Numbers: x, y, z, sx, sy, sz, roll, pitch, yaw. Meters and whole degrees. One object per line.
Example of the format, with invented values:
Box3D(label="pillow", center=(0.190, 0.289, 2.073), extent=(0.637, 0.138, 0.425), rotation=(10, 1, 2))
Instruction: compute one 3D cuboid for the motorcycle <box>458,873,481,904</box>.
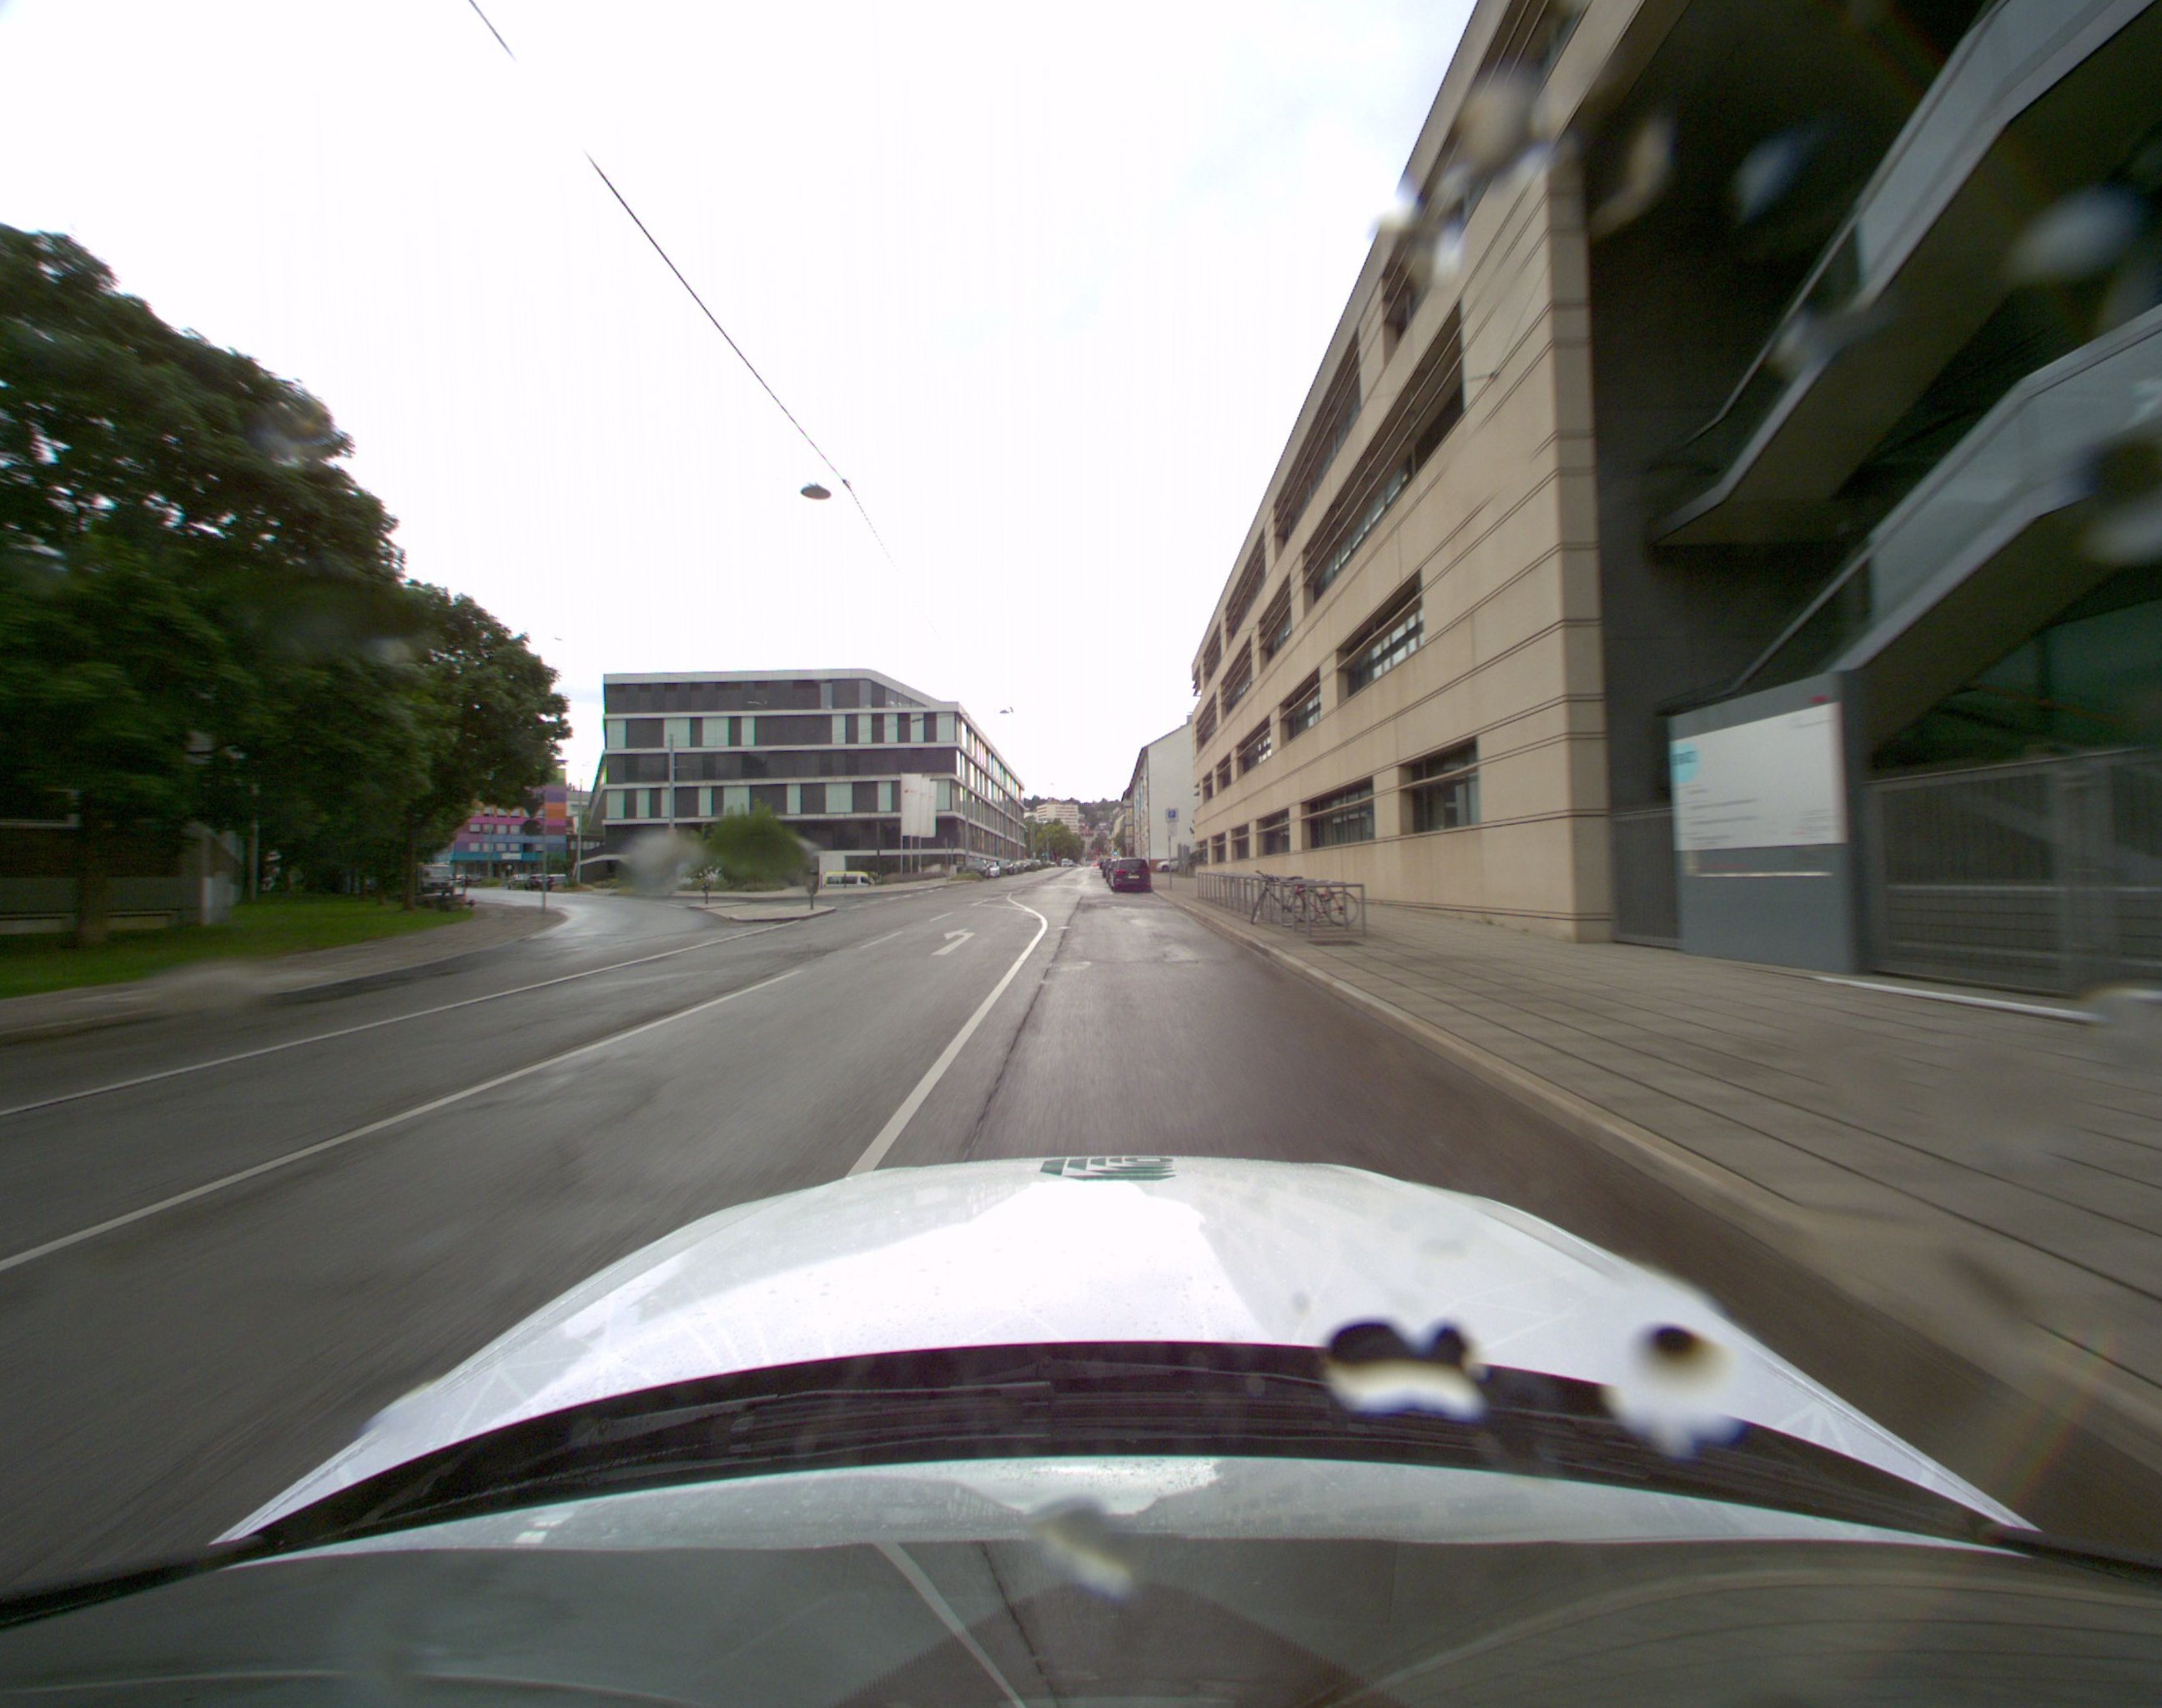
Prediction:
Box3D(label="motorcycle", center=(-23.750, 1.335, 31.620), extent=(1.211, 1.185, 0.415), rotation=(-1, -2, 38))

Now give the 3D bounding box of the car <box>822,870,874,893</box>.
Box3D(label="car", center=(-22.963, 2.716, 80.400), extent=(4.583, 2.174, 1.928), rotation=(0, -1, -5))

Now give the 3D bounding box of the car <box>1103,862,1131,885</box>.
Box3D(label="car", center=(2.420, 1.293, 55.898), extent=(1.738, 1.533, 4.318), rotation=(0, -1, 0))

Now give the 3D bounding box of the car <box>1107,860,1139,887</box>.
Box3D(label="car", center=(2.453, 1.156, 48.162), extent=(1.719, 1.512, 4.057), rotation=(1, -1, 0))

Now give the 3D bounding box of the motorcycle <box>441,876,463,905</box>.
Box3D(label="motorcycle", center=(-25.224, 1.476, 32.660), extent=(1.155, 1.125, 0.415), rotation=(-3, -3, 38))

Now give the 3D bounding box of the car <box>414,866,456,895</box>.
Box3D(label="car", center=(-47.364, 1.909, 59.652), extent=(2.088, 2.043, 4.227), rotation=(1, -1, -43))

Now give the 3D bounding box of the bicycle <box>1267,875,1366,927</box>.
Box3D(label="bicycle", center=(4.618, 0.912, 16.041), extent=(1.754, 0.953, 0.659), rotation=(-1, -1, -3))

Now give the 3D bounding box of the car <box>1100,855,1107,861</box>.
Box3D(label="car", center=(5.912, 0.971, 214.587), extent=(1.858, 1.604, 4.193), rotation=(0, -1, 4))

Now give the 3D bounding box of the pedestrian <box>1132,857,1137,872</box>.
Box3D(label="pedestrian", center=(6.912, 1.380, 105.942), extent=(0.636, 1.870, 0.539), rotation=(0, -1, 3))

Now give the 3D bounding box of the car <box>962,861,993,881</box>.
Box3D(label="car", center=(-8.598, 1.368, 67.960), extent=(1.843, 1.617, 4.491), rotation=(0, -1, 1))

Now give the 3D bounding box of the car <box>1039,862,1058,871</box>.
Box3D(label="car", center=(-7.214, 2.821, 179.662), extent=(4.151, 1.669, 1.650), rotation=(-4, -6, 40))

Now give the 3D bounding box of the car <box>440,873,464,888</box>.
Box3D(label="car", center=(-81.199, 3.360, 105.054), extent=(2.012, 1.839, 3.950), rotation=(0, -1, -45))

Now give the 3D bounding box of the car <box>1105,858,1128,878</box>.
Box3D(label="car", center=(3.097, 1.263, 72.527), extent=(1.929, 1.750, 4.797), rotation=(0, -1, 1))

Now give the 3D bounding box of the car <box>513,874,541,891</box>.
Box3D(label="car", center=(-53.145, 2.710, 78.164), extent=(1.815, 1.588, 3.635), rotation=(1, -1, -41))

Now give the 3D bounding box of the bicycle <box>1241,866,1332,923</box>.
Box3D(label="bicycle", center=(4.283, 0.831, 17.024), extent=(1.726, 1.119, 0.658), rotation=(-1, -1, -5))

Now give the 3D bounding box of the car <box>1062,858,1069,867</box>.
Box3D(label="car", center=(-4.440, 2.379, 234.925), extent=(2.099, 2.546, 4.748), rotation=(0, -1, -1))

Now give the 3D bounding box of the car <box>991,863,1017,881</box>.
Box3D(label="car", center=(-7.992, 1.855, 84.797), extent=(1.954, 1.750, 4.946), rotation=(0, -1, 3))

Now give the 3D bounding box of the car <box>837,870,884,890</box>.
Box3D(label="car", center=(-22.846, 2.687, 84.442), extent=(4.327, 2.032, 1.598), rotation=(0, -1, 0))

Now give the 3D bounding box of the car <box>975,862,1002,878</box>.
Box3D(label="car", center=(-8.438, 1.471, 74.661), extent=(1.814, 1.419, 4.403), rotation=(0, -1, 1))

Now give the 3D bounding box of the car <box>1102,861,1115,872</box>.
Box3D(label="car", center=(3.603, 1.626, 107.030), extent=(1.700, 1.454, 3.985), rotation=(0, -1, 1))

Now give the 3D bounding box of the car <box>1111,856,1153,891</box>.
Box3D(label="car", center=(2.421, 0.945, 39.859), extent=(1.765, 1.604, 4.393), rotation=(0, -1, 0))

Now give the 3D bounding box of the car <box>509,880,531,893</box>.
Box3D(label="car", center=(-55.955, 3.215, 81.199), extent=(1.489, 1.241, 3.360), rotation=(1, -1, -41))

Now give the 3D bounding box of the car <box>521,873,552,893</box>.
Box3D(label="car", center=(-50.110, 2.646, 74.918), extent=(1.931, 1.739, 3.953), rotation=(1, -1, -41))

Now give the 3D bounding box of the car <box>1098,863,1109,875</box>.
Box3D(label="car", center=(3.454, 2.284, 127.448), extent=(1.649, 1.738, 4.180), rotation=(-1, 0, 1))

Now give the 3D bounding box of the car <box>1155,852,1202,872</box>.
Box3D(label="car", center=(9.674, 0.824, 81.230), extent=(4.424, 1.713, 1.905), rotation=(-4, -1, 0))

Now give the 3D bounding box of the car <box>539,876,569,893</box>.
Box3D(label="car", center=(-45.831, 2.629, 70.743), extent=(1.677, 1.450, 3.823), rotation=(1, -1, -41))

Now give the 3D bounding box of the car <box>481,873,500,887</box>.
Box3D(label="car", center=(-66.690, 2.947, 91.921), extent=(1.449, 1.494, 3.596), rotation=(-1, 0, -41))

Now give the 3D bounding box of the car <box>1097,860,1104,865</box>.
Box3D(label="car", center=(6.016, 2.654, 249.287), extent=(1.858, 1.604, 4.193), rotation=(0, -1, 4))

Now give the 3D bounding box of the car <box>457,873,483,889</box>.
Box3D(label="car", center=(-73.954, 3.242, 98.573), extent=(2.012, 1.839, 3.950), rotation=(0, -1, -45))
